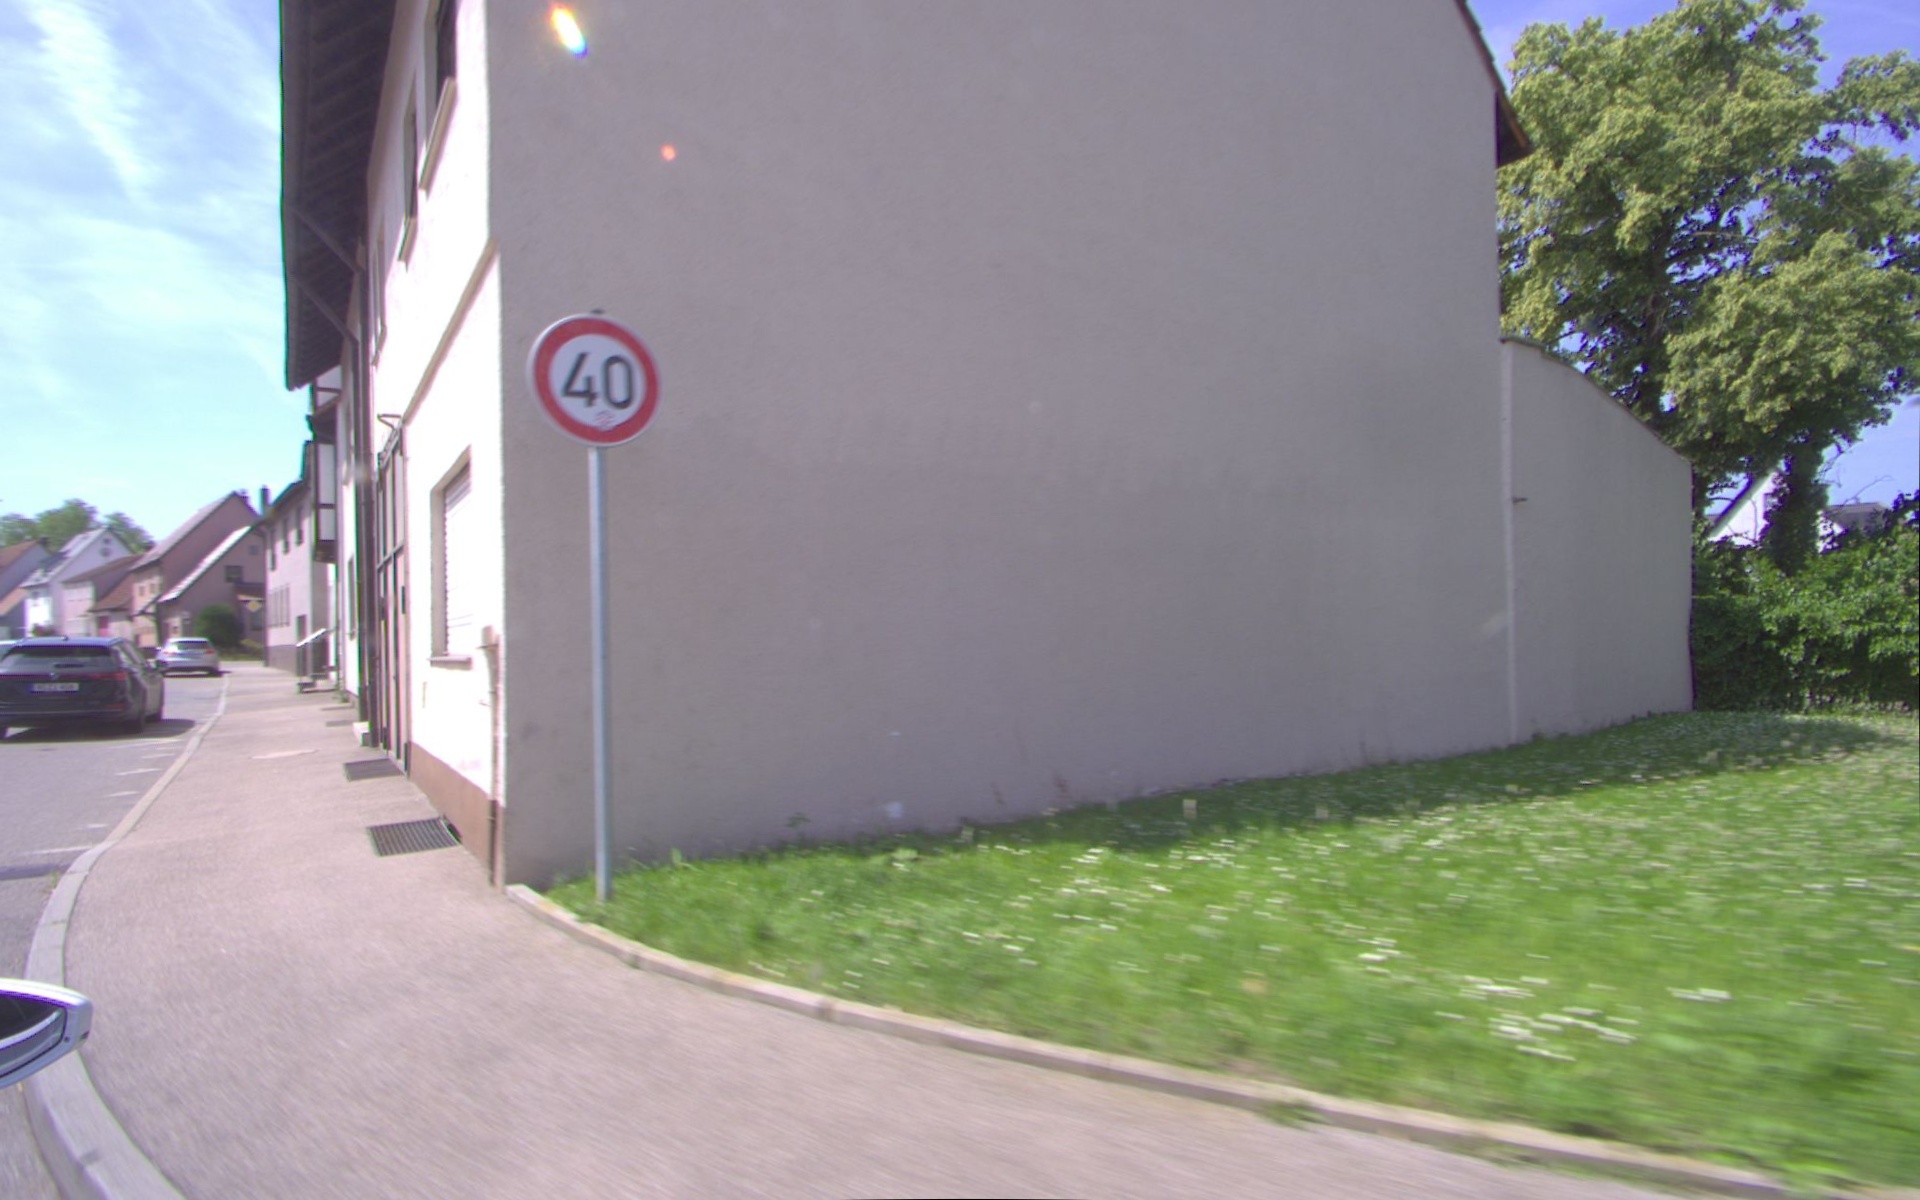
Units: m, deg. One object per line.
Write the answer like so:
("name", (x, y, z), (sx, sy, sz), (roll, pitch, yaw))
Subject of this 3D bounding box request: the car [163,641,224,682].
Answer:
("car", (-29.566, 2.318, 38.574), (1.771, 1.460, 4.303), (2, -3, -39))

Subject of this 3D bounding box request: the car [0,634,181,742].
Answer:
("car", (-13.573, 1.262, 15.582), (1.823, 1.438, 4.656), (1, -3, -32))

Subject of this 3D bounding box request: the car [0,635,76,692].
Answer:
("car", (-27.340, 1.827, 29.088), (1.936, 1.505, 4.430), (-2, -1, -35))
